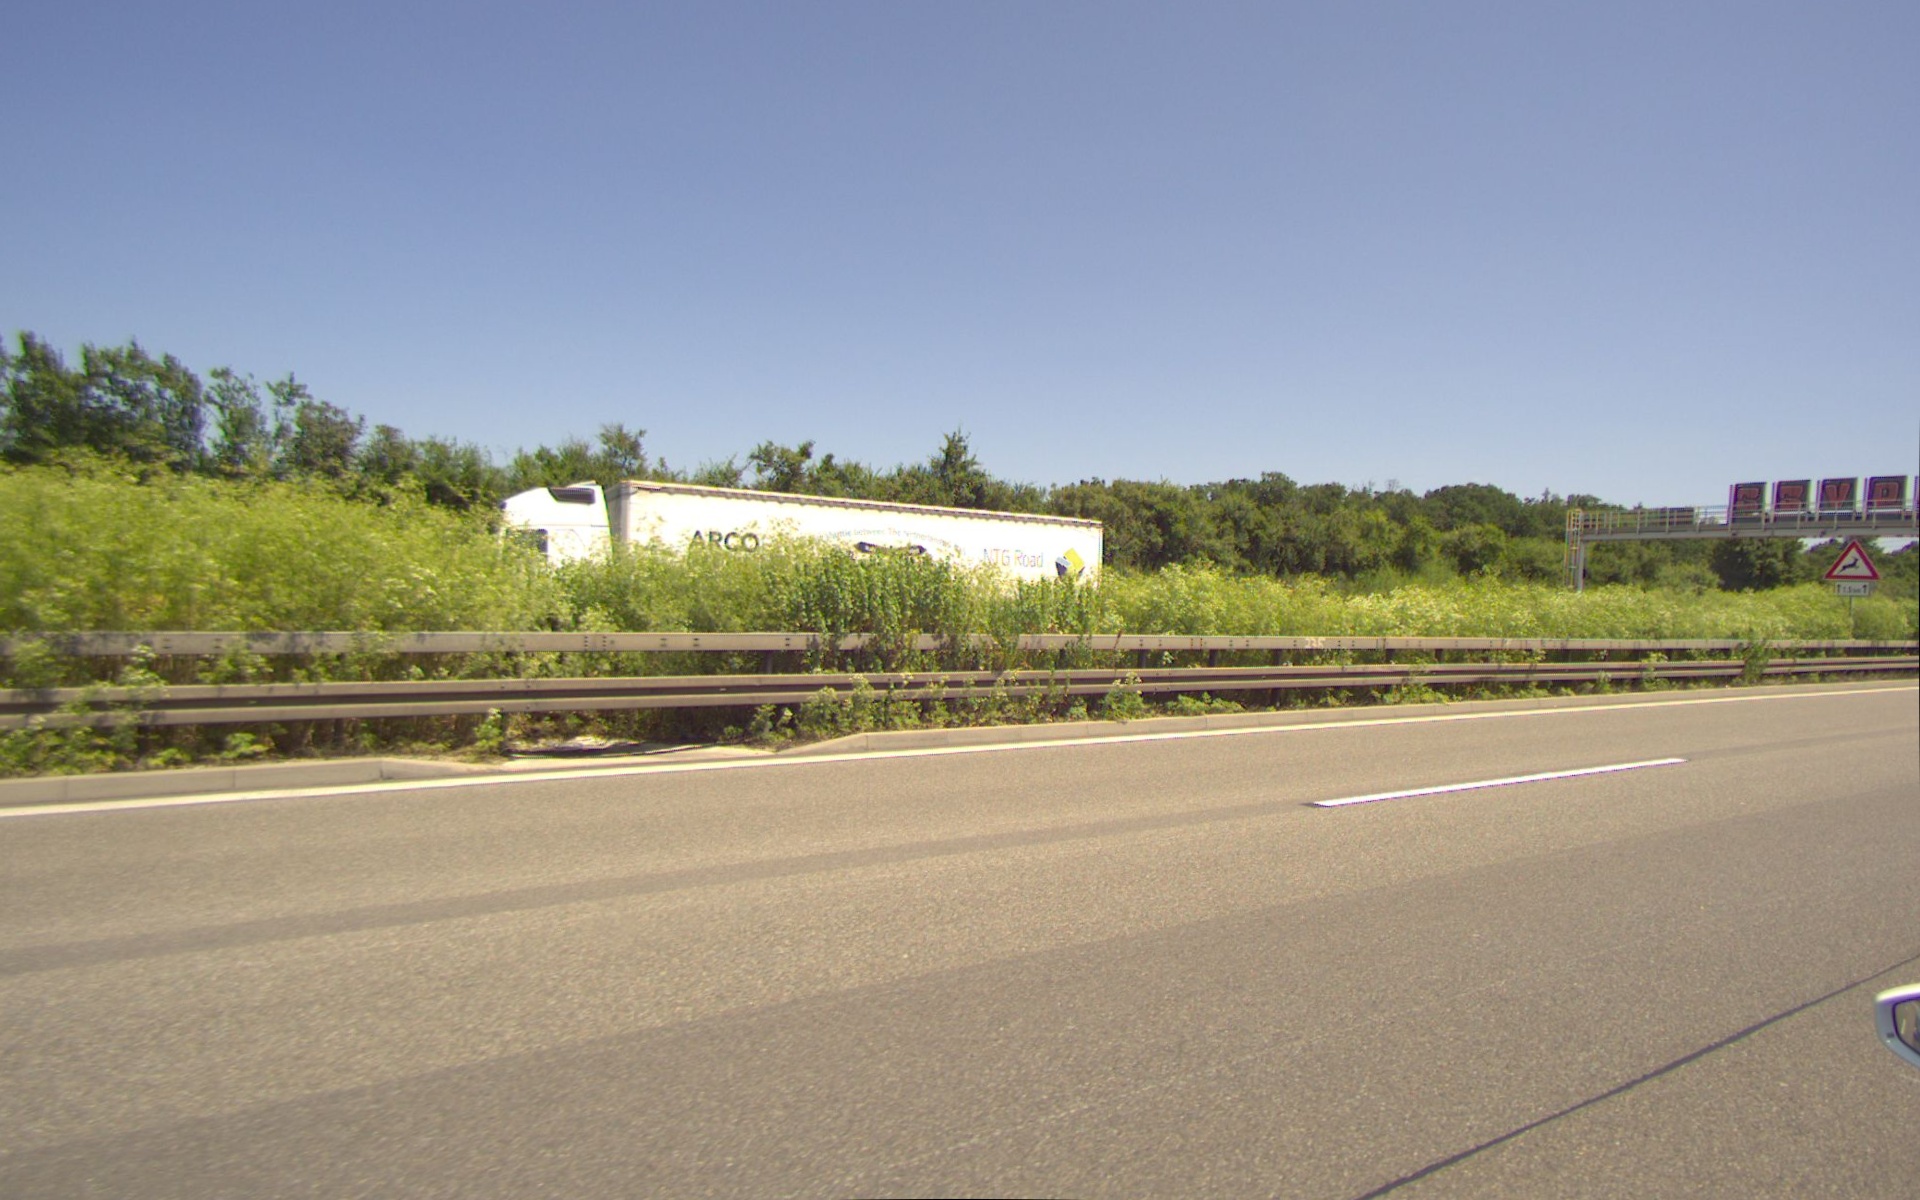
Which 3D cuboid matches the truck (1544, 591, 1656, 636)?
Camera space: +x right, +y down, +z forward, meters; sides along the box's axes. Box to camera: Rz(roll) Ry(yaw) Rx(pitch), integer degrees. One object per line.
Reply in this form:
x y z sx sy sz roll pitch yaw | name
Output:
30.639 0.668 48.030 6.326 2.040 1.983 1 -1 -32 | truck

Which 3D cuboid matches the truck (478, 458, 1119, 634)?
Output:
-3.211 -0.985 26.094 16.642 3.595 2.791 1 -1 -31 | truck
